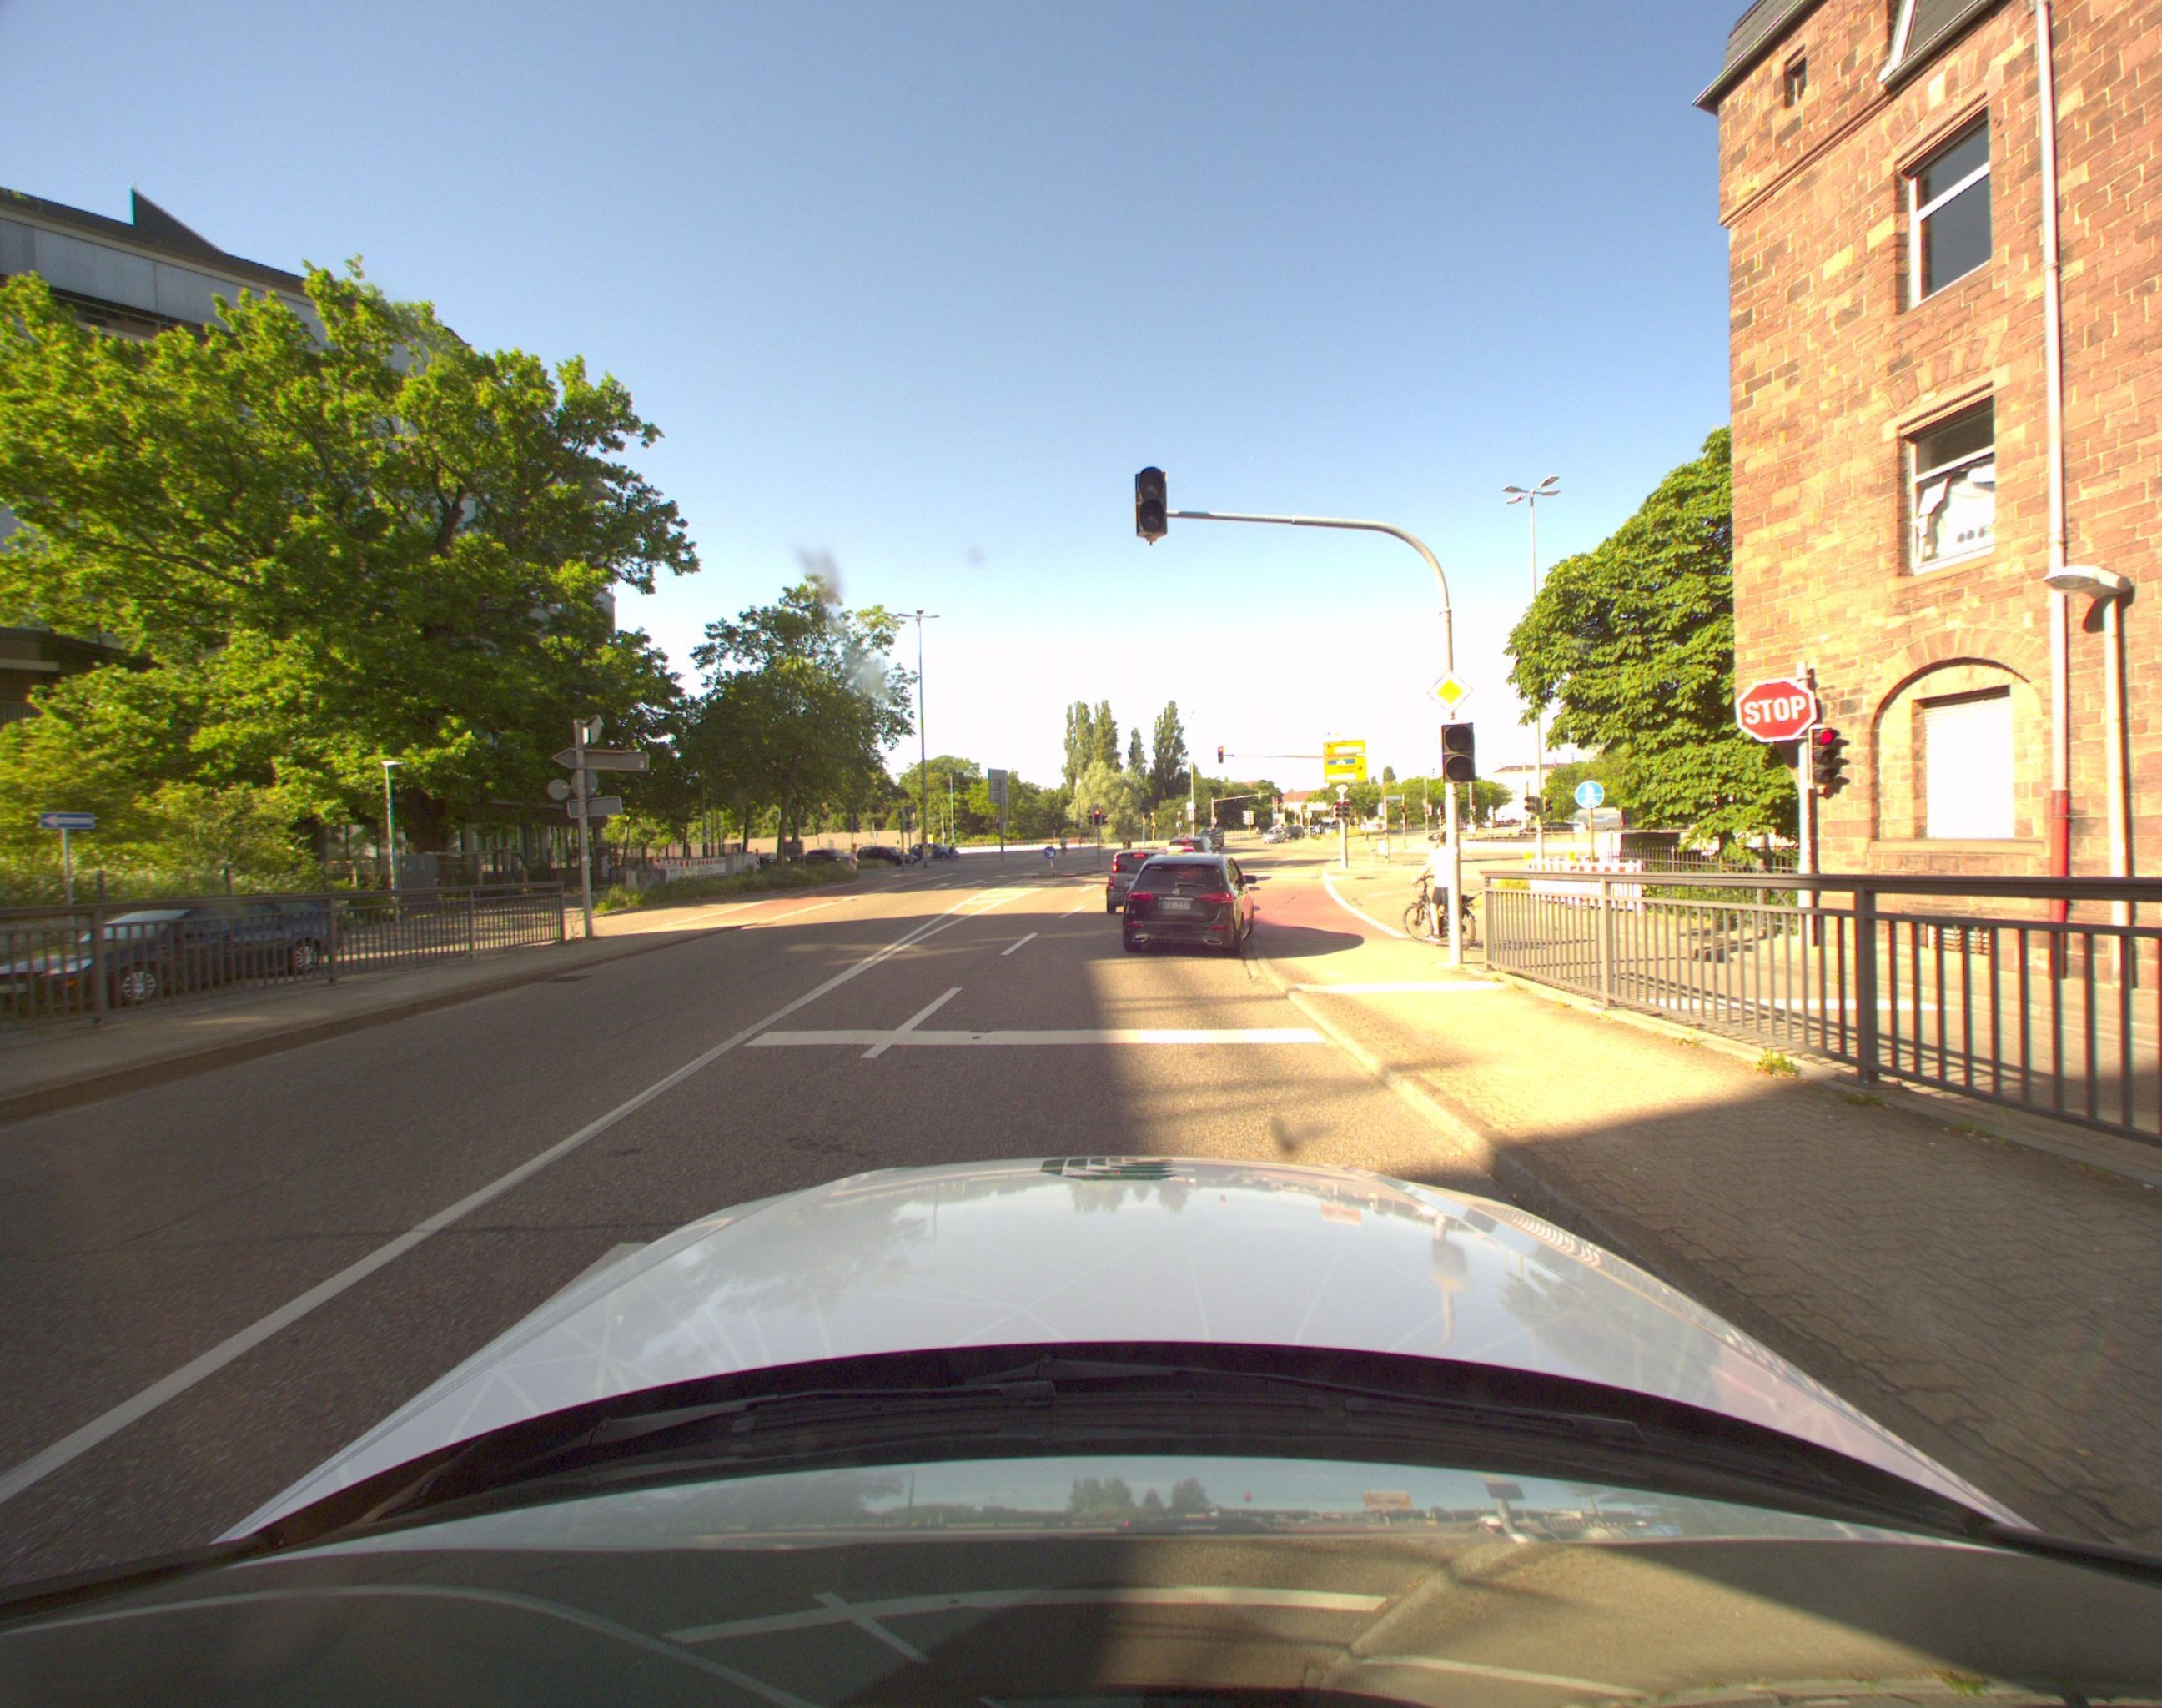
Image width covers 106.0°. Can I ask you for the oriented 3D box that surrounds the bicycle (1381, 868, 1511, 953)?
[{"bbox_3d":[5.712,0.839,12.946,0.798,1.110,2.397,-1,1,-6],"label":"bicycle"}]

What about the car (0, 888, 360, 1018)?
[{"bbox_3d":[-15.058,1.510,13.703,1.814,1.503,4.450,-2,1,0],"label":"car"}]

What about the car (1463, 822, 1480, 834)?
[{"bbox_3d":[62.633,-4.248,130.631,1.974,1.793,4.026,-2,1,33],"label":"car"}]

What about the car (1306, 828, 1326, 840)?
[{"bbox_3d":[31.160,-2.660,108.100,1.975,1.453,4.023,-1,1,24],"label":"car"}]

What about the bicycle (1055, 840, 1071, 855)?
[{"bbox_3d":[-1.469,-0.545,67.042,0.681,1.202,2.337,-1,2,16],"label":"bicycle"}]

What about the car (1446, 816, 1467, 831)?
[{"bbox_3d":[52.534,-4.246,113.838,1.974,1.794,4.025,-1,-1,35],"label":"car"}]

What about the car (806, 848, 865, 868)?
[{"bbox_3d":[-19.231,0.331,63.816,4.394,1.438,1.838,-2,1,30],"label":"car"}]

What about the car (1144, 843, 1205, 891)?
[{"bbox_3d":[3.236,0.378,27.608,1.809,1.479,4.012,0,1,10],"label":"car"}]

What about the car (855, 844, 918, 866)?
[{"bbox_3d":[-14.296,0.086,59.735,4.394,1.438,1.838,-2,1,30],"label":"car"}]

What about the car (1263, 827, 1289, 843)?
[{"bbox_3d":[20.727,-2.023,86.415,1.803,1.582,4.128,-2,1,25],"label":"car"}]

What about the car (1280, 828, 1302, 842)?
[{"bbox_3d":[25.017,-2.312,96.920,1.707,1.582,4.027,-1,1,25],"label":"car"}]

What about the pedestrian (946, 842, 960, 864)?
[{"bbox_3d":[-9.515,-0.087,60.496,0.683,1.538,1.368,-1,-4,5],"label":"pedestrian"}]

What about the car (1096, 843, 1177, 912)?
[{"bbox_3d":[1.479,0.531,20.760,1.811,1.489,4.007,-2,1,6],"label":"car"}]

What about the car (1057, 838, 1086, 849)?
[{"bbox_3d":[-1.313,-1.539,118.408,3.966,1.548,2.004,-1,1,6],"label":"car"}]

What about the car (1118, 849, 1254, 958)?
[{"bbox_3d":[1.892,0.692,13.546,1.738,1.493,4.016,-1,1,14],"label":"car"}]

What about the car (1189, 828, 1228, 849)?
[{"bbox_3d":[12.389,-1.504,78.673,1.974,1.935,4.883,-1,2,31],"label":"car"}]

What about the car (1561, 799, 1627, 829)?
[{"bbox_3d":[49.168,-3.778,78.140,2.268,2.607,4.840,0,-1,-29],"label":"car"}]

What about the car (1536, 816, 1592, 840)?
[{"bbox_3d":[43.231,-2.287,72.936,2.011,2.014,3.951,0,-1,-44],"label":"car"}]

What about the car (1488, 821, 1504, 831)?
[{"bbox_3d":[74.743,-5.089,146.672,1.974,1.640,4.026,-2,1,36],"label":"car"}]

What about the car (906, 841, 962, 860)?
[{"bbox_3d":[-12.548,-0.274,69.545,4.395,1.438,1.837,-2,1,26],"label":"car"}]

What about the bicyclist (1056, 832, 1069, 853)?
[{"bbox_3d":[-1.525,-0.940,66.885,0.681,1.701,1.203,-1,2,16],"label":"bicyclist"}]

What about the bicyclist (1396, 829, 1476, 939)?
[{"bbox_3d":[5.701,0.462,13.139,0.798,1.705,1.084,0,0,-4],"label":"bicyclist"}]

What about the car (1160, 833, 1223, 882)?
[{"bbox_3d":[4.551,0.077,32.993,1.854,1.790,4.434,0,2,17],"label":"car"}]
